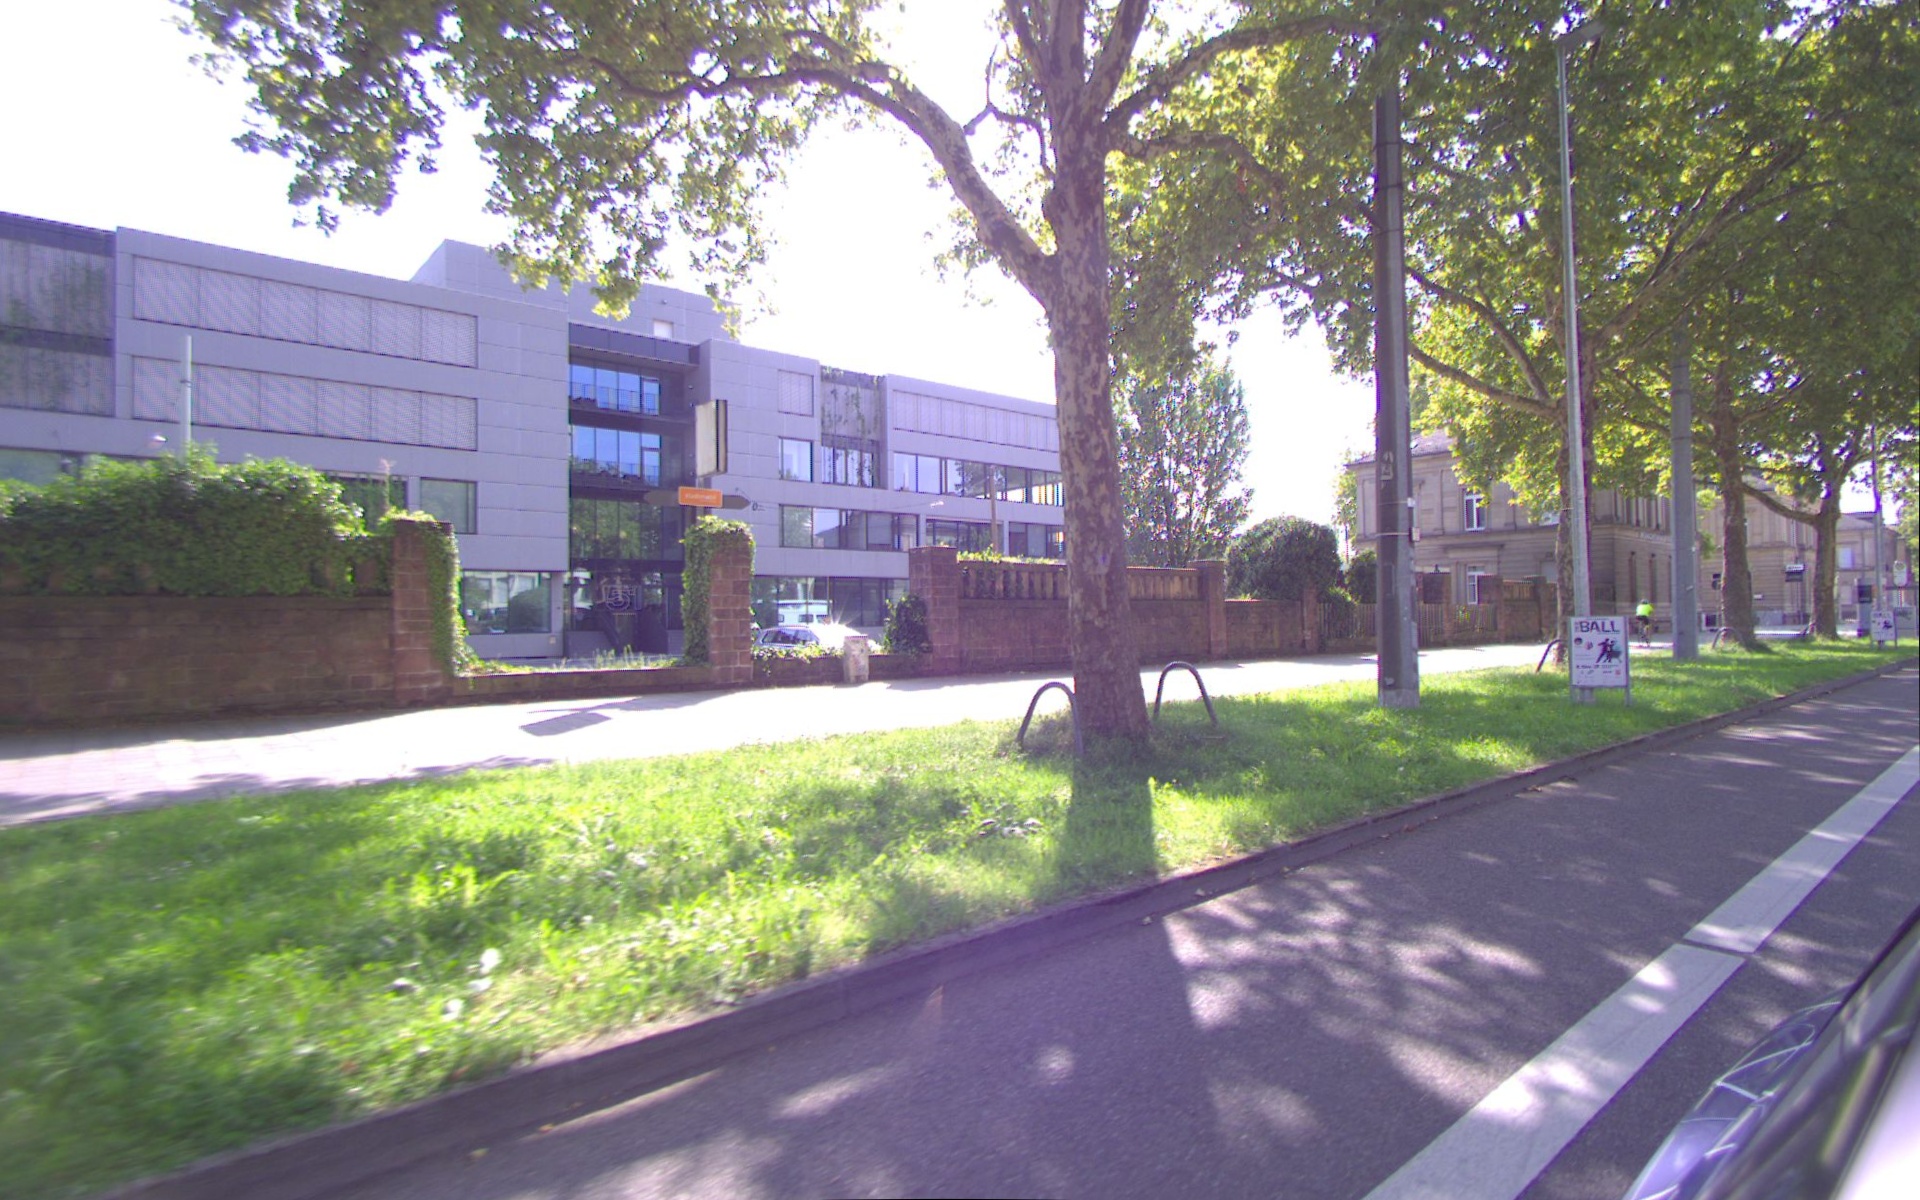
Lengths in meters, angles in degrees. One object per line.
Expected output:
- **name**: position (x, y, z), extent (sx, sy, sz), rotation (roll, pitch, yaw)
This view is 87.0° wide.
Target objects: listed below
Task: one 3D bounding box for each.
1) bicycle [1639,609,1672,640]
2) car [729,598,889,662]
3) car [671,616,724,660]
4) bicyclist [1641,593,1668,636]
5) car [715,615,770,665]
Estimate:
- **bicycle**: position (24.131, 0.843, 35.120), extent (1.683, 1.020, 0.549), rotation (0, 0, -41)
- **car**: position (-3.755, 0.700, 24.761), extent (1.967, 1.436, 3.989), rotation (0, -1, -44)
- **car**: position (-11.811, 1.651, 45.703), extent (1.959, 1.805, 4.006), rotation (0, 0, -9)
- **bicyclist**: position (24.106, 0.491, 35.110), extent (0.827, 1.472, 0.549), rotation (0, -1, -41)
- **car**: position (-8.715, 1.569, 40.805), extent (1.959, 1.805, 4.006), rotation (0, 0, -9)
